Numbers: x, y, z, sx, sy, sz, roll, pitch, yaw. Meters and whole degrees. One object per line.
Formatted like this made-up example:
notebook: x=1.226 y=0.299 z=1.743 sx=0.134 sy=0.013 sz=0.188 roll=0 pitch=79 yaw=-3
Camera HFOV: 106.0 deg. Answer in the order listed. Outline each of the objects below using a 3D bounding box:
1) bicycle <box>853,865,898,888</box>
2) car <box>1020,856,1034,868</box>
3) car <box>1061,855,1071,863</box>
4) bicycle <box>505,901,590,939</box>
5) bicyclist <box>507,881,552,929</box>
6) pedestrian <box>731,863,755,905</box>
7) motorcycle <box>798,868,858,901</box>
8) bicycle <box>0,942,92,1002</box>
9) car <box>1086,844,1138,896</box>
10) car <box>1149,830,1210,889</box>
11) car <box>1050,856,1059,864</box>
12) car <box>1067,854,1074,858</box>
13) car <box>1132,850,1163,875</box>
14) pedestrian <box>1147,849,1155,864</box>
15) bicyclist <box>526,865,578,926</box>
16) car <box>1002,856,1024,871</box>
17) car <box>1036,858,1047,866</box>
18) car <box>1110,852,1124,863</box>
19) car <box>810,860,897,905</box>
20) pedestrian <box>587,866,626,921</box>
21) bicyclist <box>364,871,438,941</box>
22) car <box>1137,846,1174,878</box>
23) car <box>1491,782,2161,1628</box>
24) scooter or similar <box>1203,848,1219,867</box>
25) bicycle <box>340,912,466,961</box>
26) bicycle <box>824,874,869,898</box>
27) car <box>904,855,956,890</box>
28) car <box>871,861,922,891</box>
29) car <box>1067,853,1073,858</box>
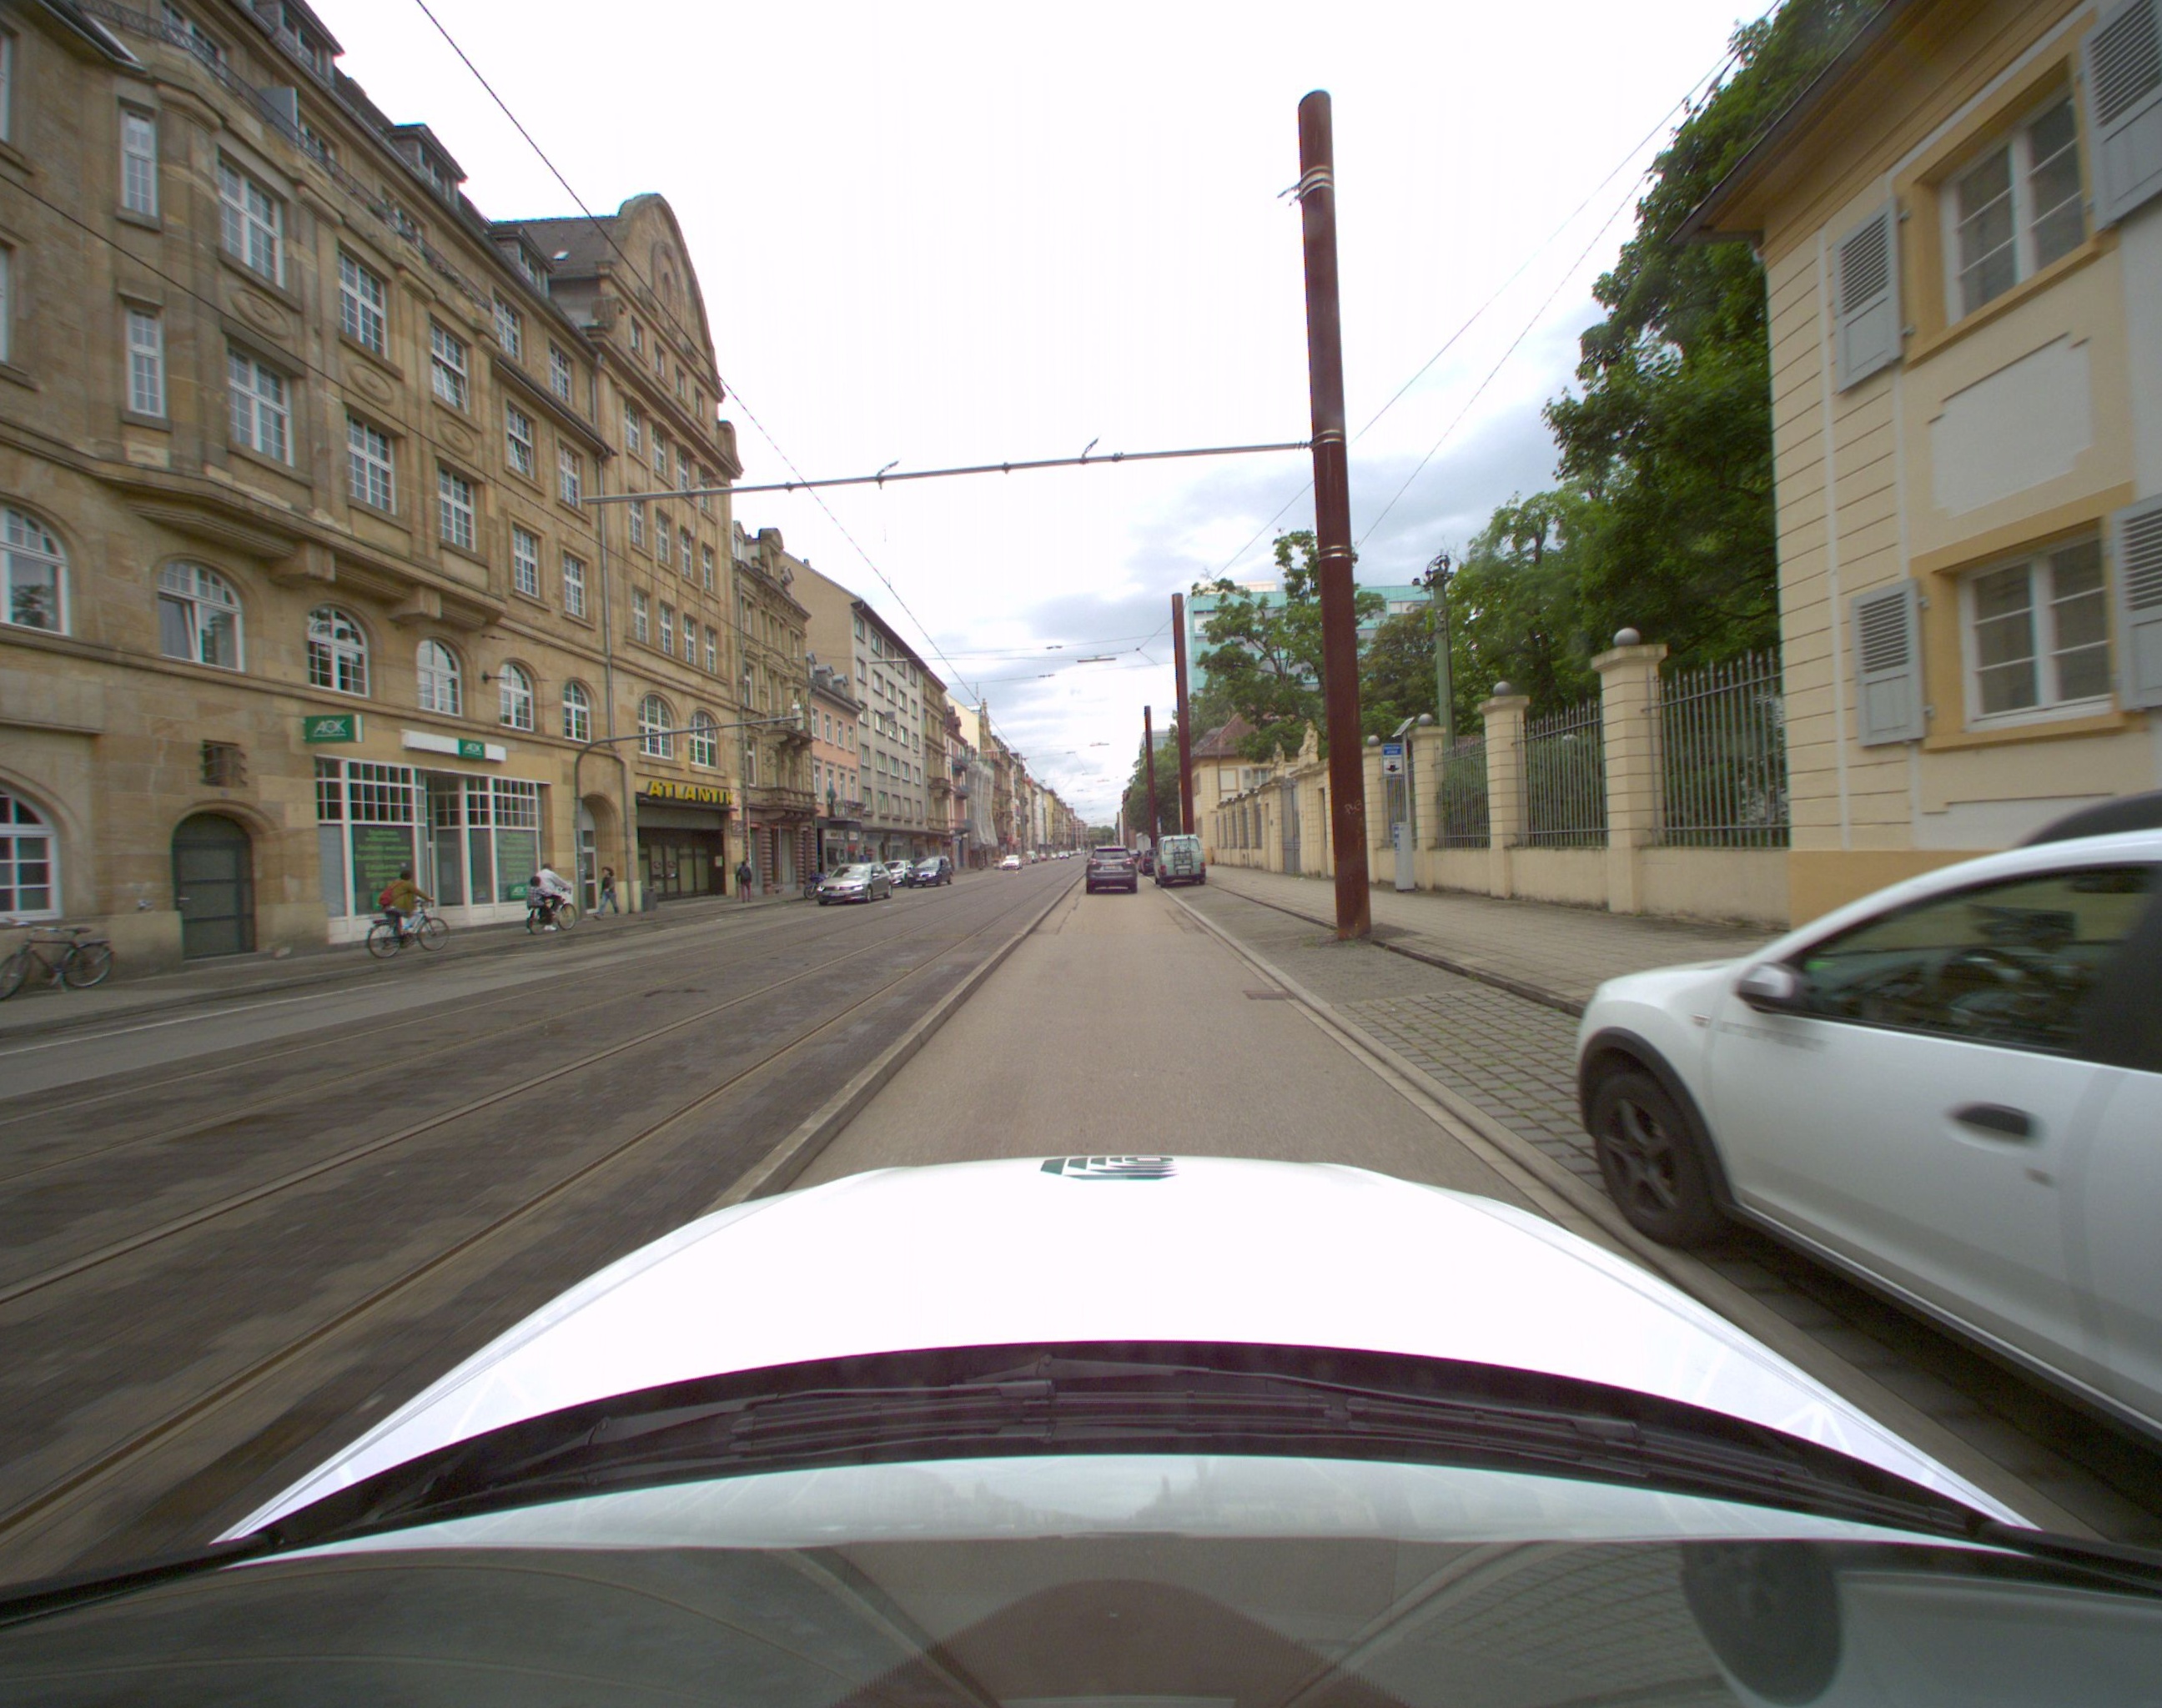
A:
bicycle: x=-11.040 y=1.221 z=43.732 sx=2.228 sy=1.126 sz=0.503 roll=-3 pitch=0 yaw=-6
car: x=-8.140 y=1.178 z=122.917 sx=1.988 sy=1.706 sz=3.997 roll=-2 pitch=-1 yaw=-1
car: x=-3.175 y=1.059 z=169.785 sx=1.988 sy=1.635 sz=3.997 roll=-2 pitch=-1 yaw=-1
bicycle: x=-13.521 y=1.654 z=20.734 sx=0.579 sy=0.745 sz=2.251 roll=-2 pitch=0 yaw=2
bicyclist: x=-13.571 y=1.237 z=20.065 sx=0.609 sy=1.117 sz=0.660 roll=-2 pitch=0 yaw=1
pedestrian: x=-13.405 y=1.169 z=32.291 sx=0.566 sy=1.598 sz=0.718 roll=-3 pitch=0 yaw=1
motorcycle: x=-11.143 y=1.308 z=35.884 sx=2.354 sy=1.302 sz=0.874 roll=-3 pitch=0 yaw=-35
bicycle: x=-15.603 y=1.742 z=11.728 sx=0.579 sy=0.745 sz=1.707 roll=-2 pitch=0 yaw=2
car: x=1.110 y=0.535 z=30.038 sx=1.743 sy=1.756 sz=3.925 roll=-1 pitch=0 yaw=1
car: x=3.975 y=0.213 z=33.568 sx=1.844 sy=2.115 sz=4.986 roll=-5 pitch=0 yaw=2
car: x=-5.953 y=1.361 z=184.400 sx=1.988 sy=1.635 sz=3.997 roll=-2 pitch=-1 yaw=-1
car: x=-3.409 y=0.629 z=259.415 sx=1.988 sy=1.266 sz=3.997 roll=-2 pitch=-1 yaw=-1
car: x=4.398 y=0.538 z=54.383 sx=1.743 sy=1.441 sz=3.925 roll=-5 pitch=0 yaw=1
pedestrian: x=9.103 y=0.289 z=105.439 sx=0.907 sy=1.886 sz=0.846 roll=-2 pitch=-1 yaw=1
bicyclist: x=-13.551 y=1.057 z=20.873 sx=0.609 sy=1.487 sz=0.972 roll=-2 pitch=0 yaw=2
car: x=-6.782 y=0.917 z=81.394 sx=1.681 sy=1.420 sz=4.136 roll=-3 pitch=0 yaw=1
car: x=-7.464 y=1.541 z=153.406 sx=1.988 sy=1.464 sz=3.997 roll=-2 pitch=-1 yaw=-1
car: x=5.078 y=0.470 z=114.987 sx=1.769 sy=1.420 sz=4.136 roll=-3 pitch=0 yaw=1
car: x=-8.396 y=1.011 z=30.469 sx=1.752 sy=1.449 sz=4.616 roll=-3 pitch=0 yaw=2
pedestrian: x=-14.571 y=1.211 z=25.018 sx=0.682 sy=1.613 sz=0.742 roll=-2 pitch=0 yaw=1
bicyclist: x=-13.666 y=1.022 z=16.386 sx=0.609 sy=1.324 sz=0.972 roll=-2 pitch=0 yaw=2
car: x=4.303 y=0.449 z=47.622 sx=1.743 sy=1.596 sz=3.925 roll=-5 pitch=0 yaw=1
car: x=2.877 y=0.615 z=1.972 sx=1.749 sy=1.574 sz=3.932 roll=-5 pitch=0 yaw=1
scooter or similar: x=8.793 y=0.231 z=55.196 sx=0.744 sy=1.250 sz=1.920 roll=-2 pitch=-1 yaw=1
bicycle: x=-13.643 y=1.640 z=16.491 sx=0.579 sy=0.745 sz=2.251 roll=-2 pitch=0 yaw=2
bicycle: x=-11.094 y=1.499 z=38.521 sx=1.963 sy=1.001 sz=0.462 roll=-3 pitch=0 yaw=-6
car: x=-8.061 y=0.934 z=43.851 sx=1.752 sy=1.671 sz=4.616 roll=-3 pitch=0 yaw=2
car: x=-10.694 y=1.248 z=47.424 sx=1.769 sy=1.504 sz=4.403 roll=-3 pitch=0 yaw=1
car: x=-3.407 y=0.519 z=253.106 sx=1.988 sy=1.266 sz=3.997 roll=-2 pitch=-1 yaw=-1
